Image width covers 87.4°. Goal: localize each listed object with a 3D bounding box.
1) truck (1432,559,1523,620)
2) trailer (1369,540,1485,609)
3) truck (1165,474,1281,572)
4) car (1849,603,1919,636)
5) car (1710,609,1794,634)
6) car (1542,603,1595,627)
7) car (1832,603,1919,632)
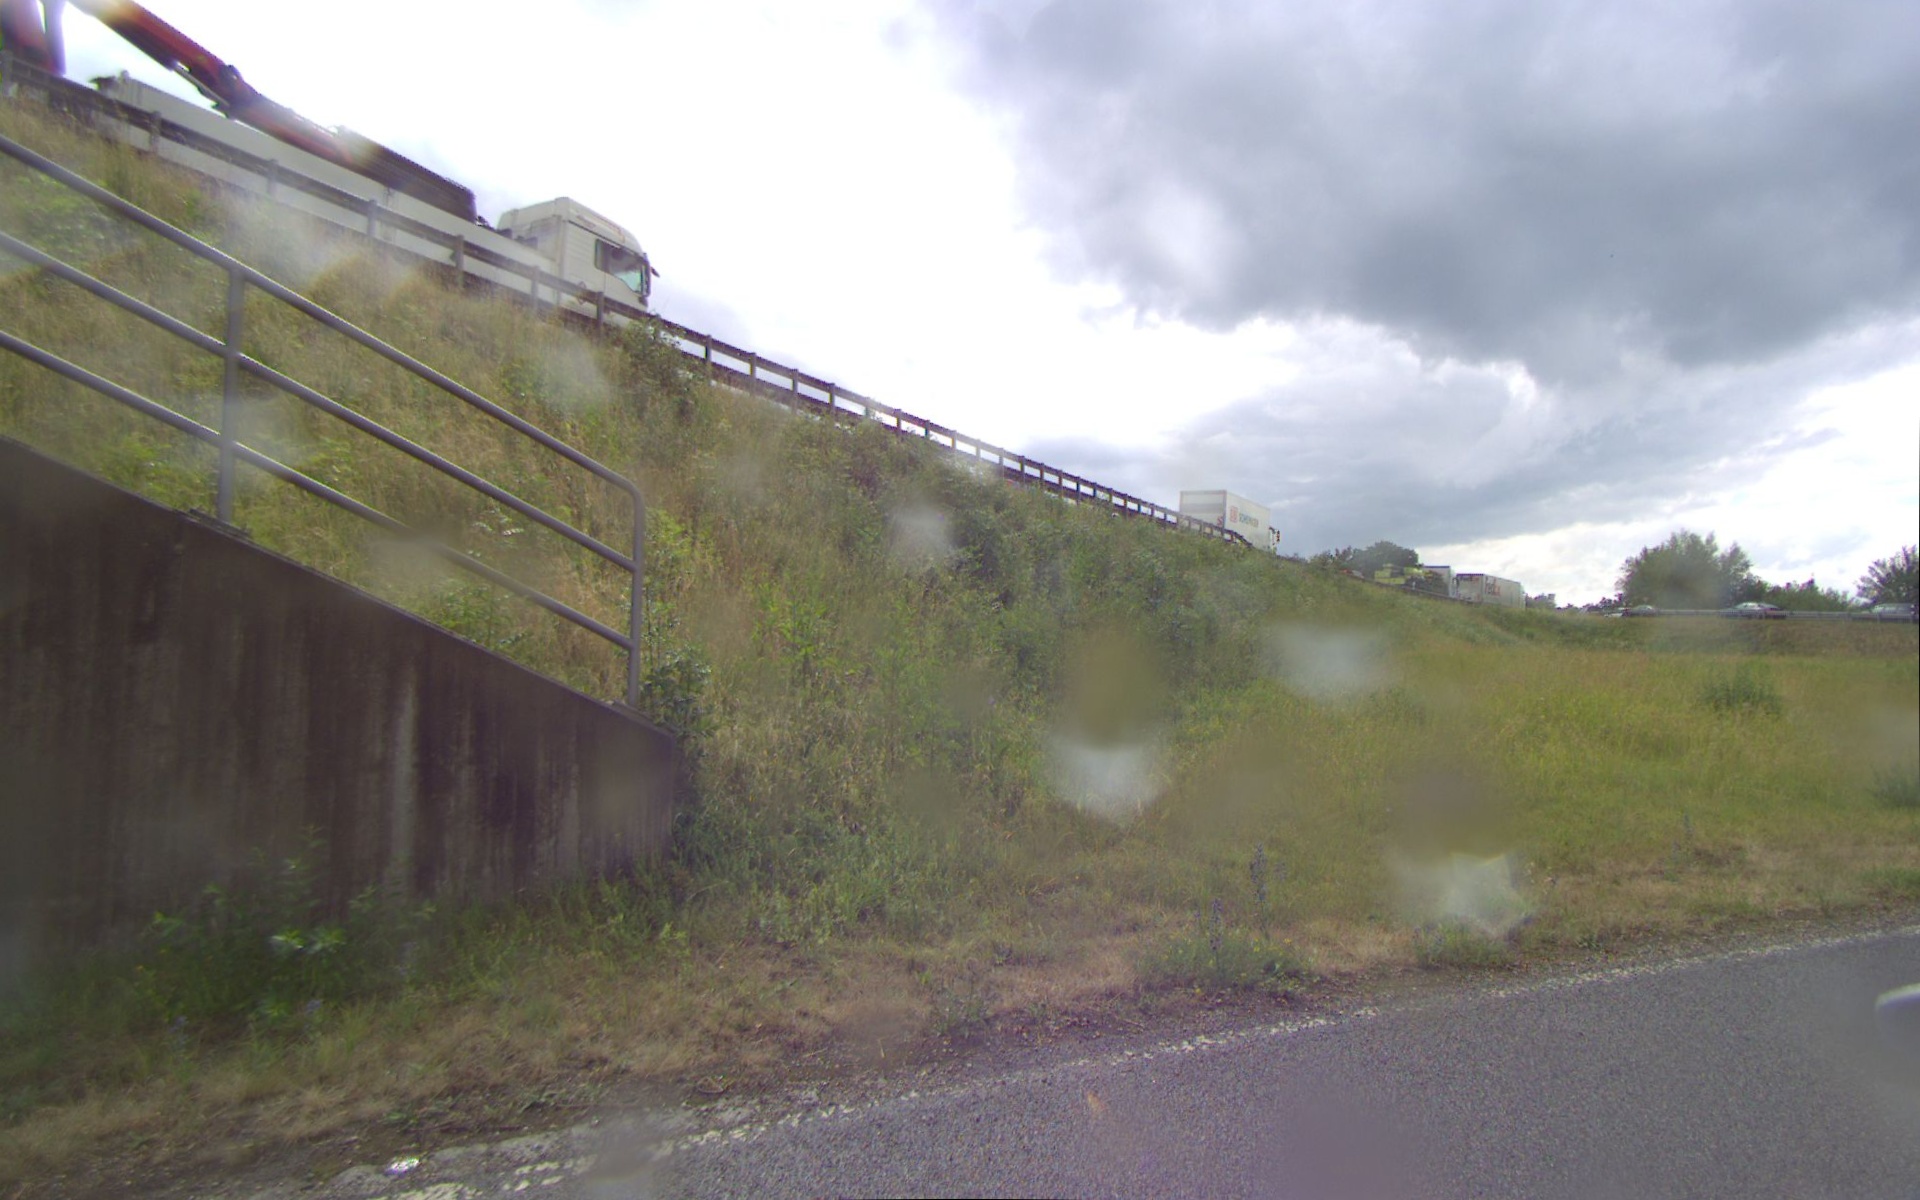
[{"bbox_3d":[53.291,-0.883,102.921,4.406,4.561,19.299,1,-4,39],"label":"truck"},{"bbox_3d":[41.149,-1.941,87.762,4.360,4.006,20.137,1,-4,39],"label":"trailer"},{"bbox_3d":[14.538,-4.002,54.854,3.137,4.017,9.213,1,-4,34],"label":"truck"},{"bbox_3d":[64.889,1.379,70.001,1.962,2.039,4.001,-4,-4,-3],"label":"car"},{"bbox_3d":[62.839,1.750,79.821,1.968,1.885,5.040,2,-3,-17],"label":"car"},{"bbox_3d":[54.860,1.350,90.556,3.933,2.039,1.822,1,-3,34],"label":"car"},{"bbox_3d":[64.857,1.247,70.698,1.968,1.885,5.040,2,-3,-17],"label":"car"}]
